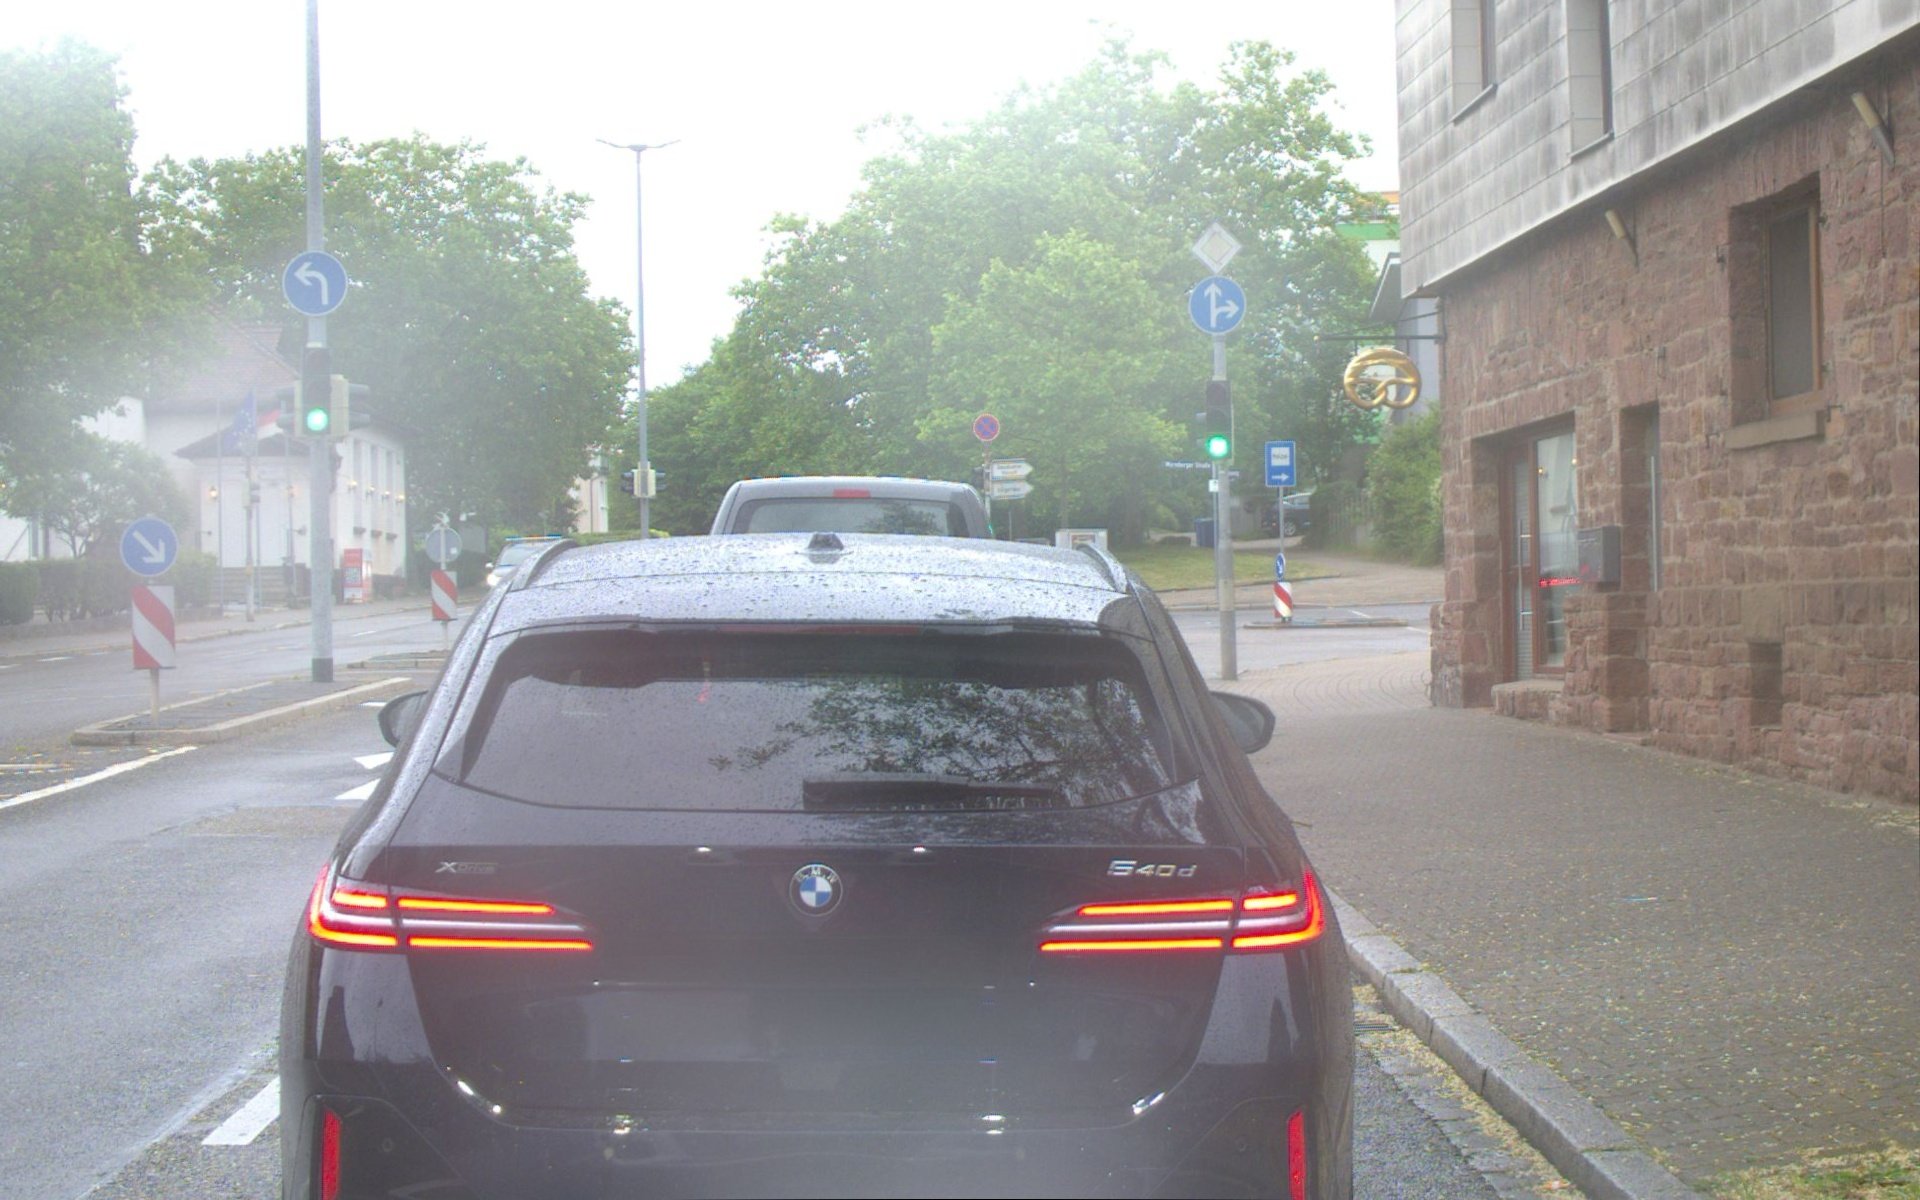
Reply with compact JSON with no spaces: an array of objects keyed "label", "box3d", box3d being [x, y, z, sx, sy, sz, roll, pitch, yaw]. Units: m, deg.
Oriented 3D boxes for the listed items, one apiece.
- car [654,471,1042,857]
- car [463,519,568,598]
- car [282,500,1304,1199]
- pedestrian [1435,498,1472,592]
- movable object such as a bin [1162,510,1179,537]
[{"label":"car","box3d":[-0.644,0.289,18.133,1.812,1.802,3.757,1,0,-4]},{"label":"car","box3d":[-9.487,-0.924,73.693,1.898,1.572,4.503,-1,2,-4]},{"label":"car","box3d":[-0.357,0.608,6.940,1.523,1.529,3.532,1,0,-4]},{"label":"pedestrian","box3d":[8.533,-0.946,59.431,0.601,1.611,0.525,1,0,6]},{"label":"movable object such as a bin","box3d":[7.061,-2.566,115.302,0.450,0.902,0.462,1,0,15]}]
